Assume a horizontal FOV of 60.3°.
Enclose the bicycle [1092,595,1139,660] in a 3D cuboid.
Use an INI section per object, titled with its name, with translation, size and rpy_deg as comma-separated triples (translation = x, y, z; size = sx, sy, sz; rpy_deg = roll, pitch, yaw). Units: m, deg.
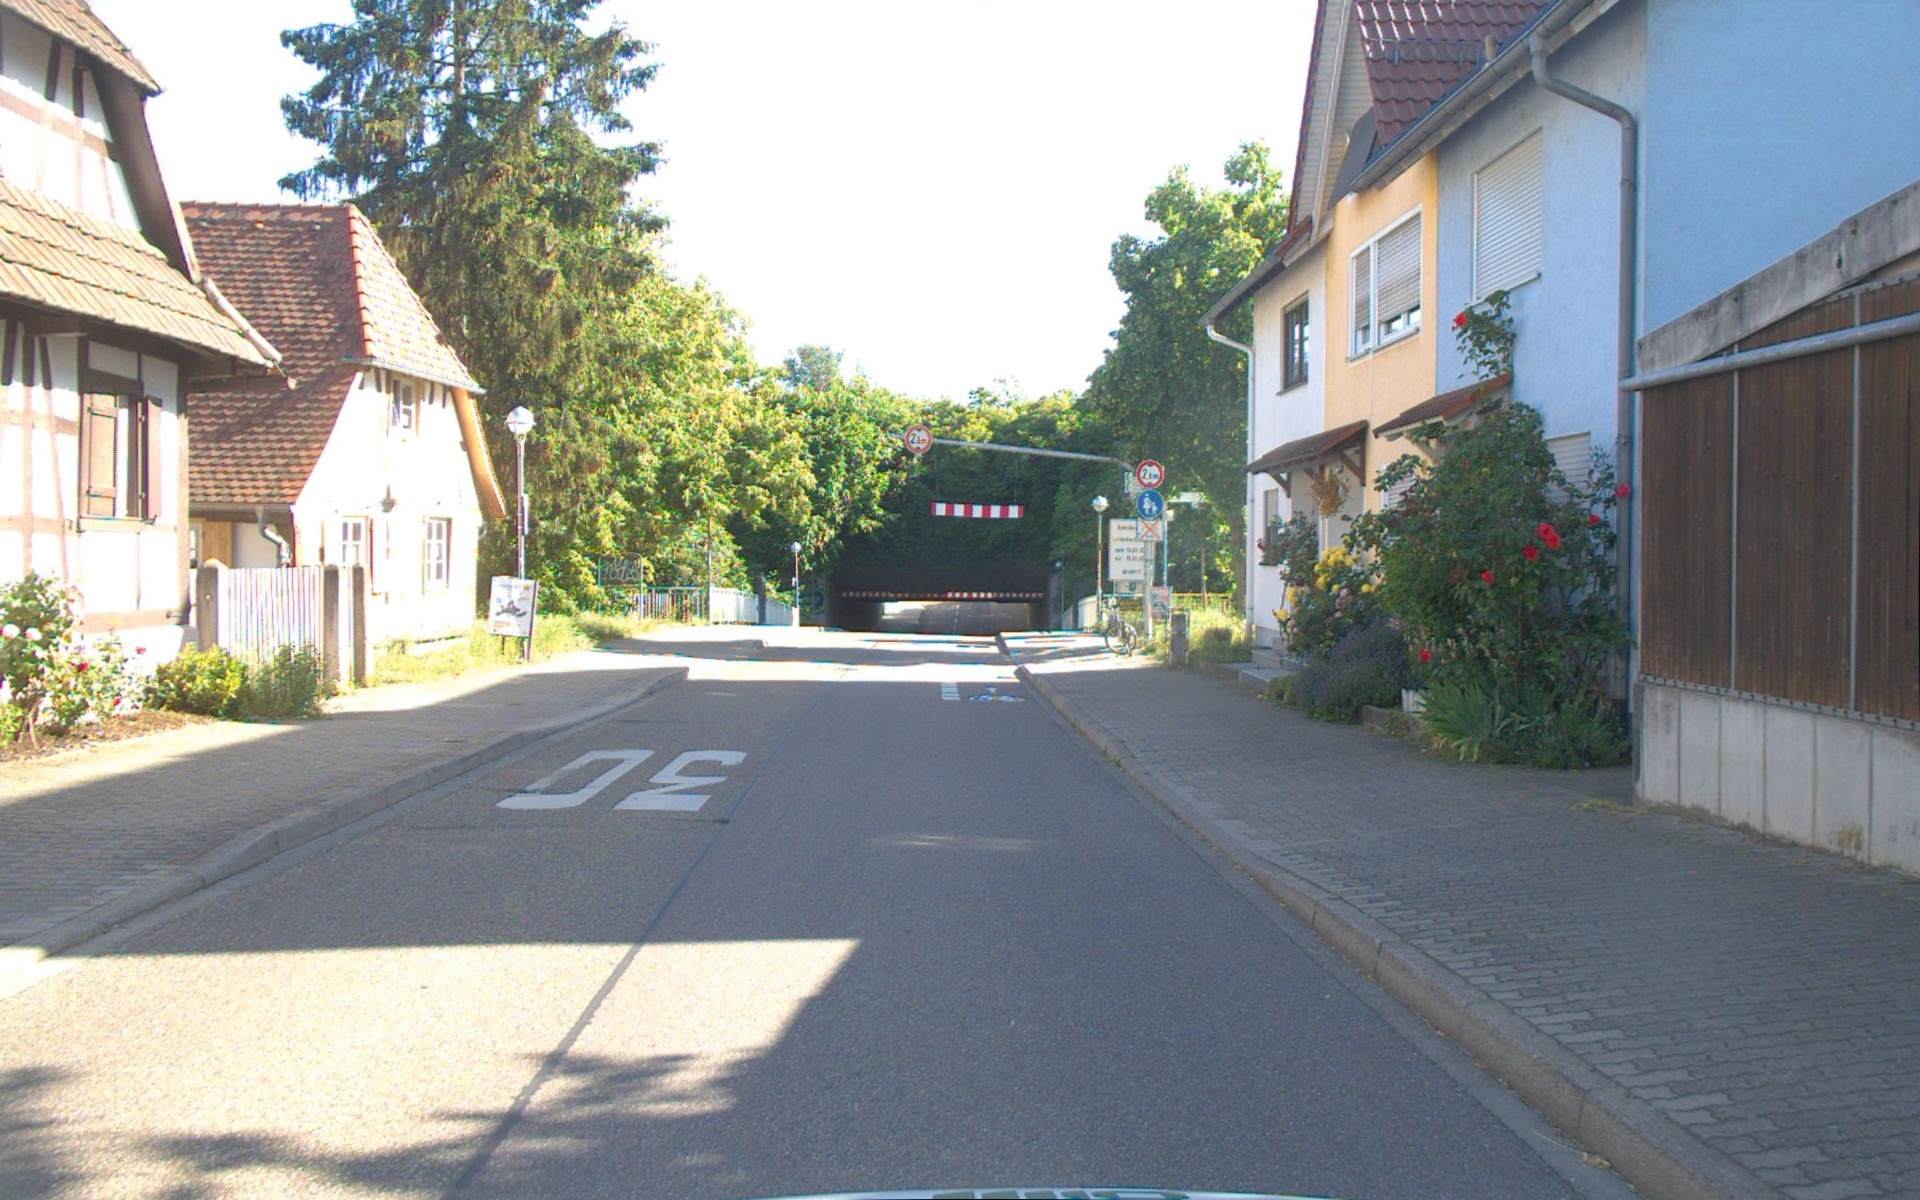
[bicycle]
translation = 3.019, 0.515, 32.189
size = 0.675, 1.177, 1.539
rpy_deg = -4, 1, -1
